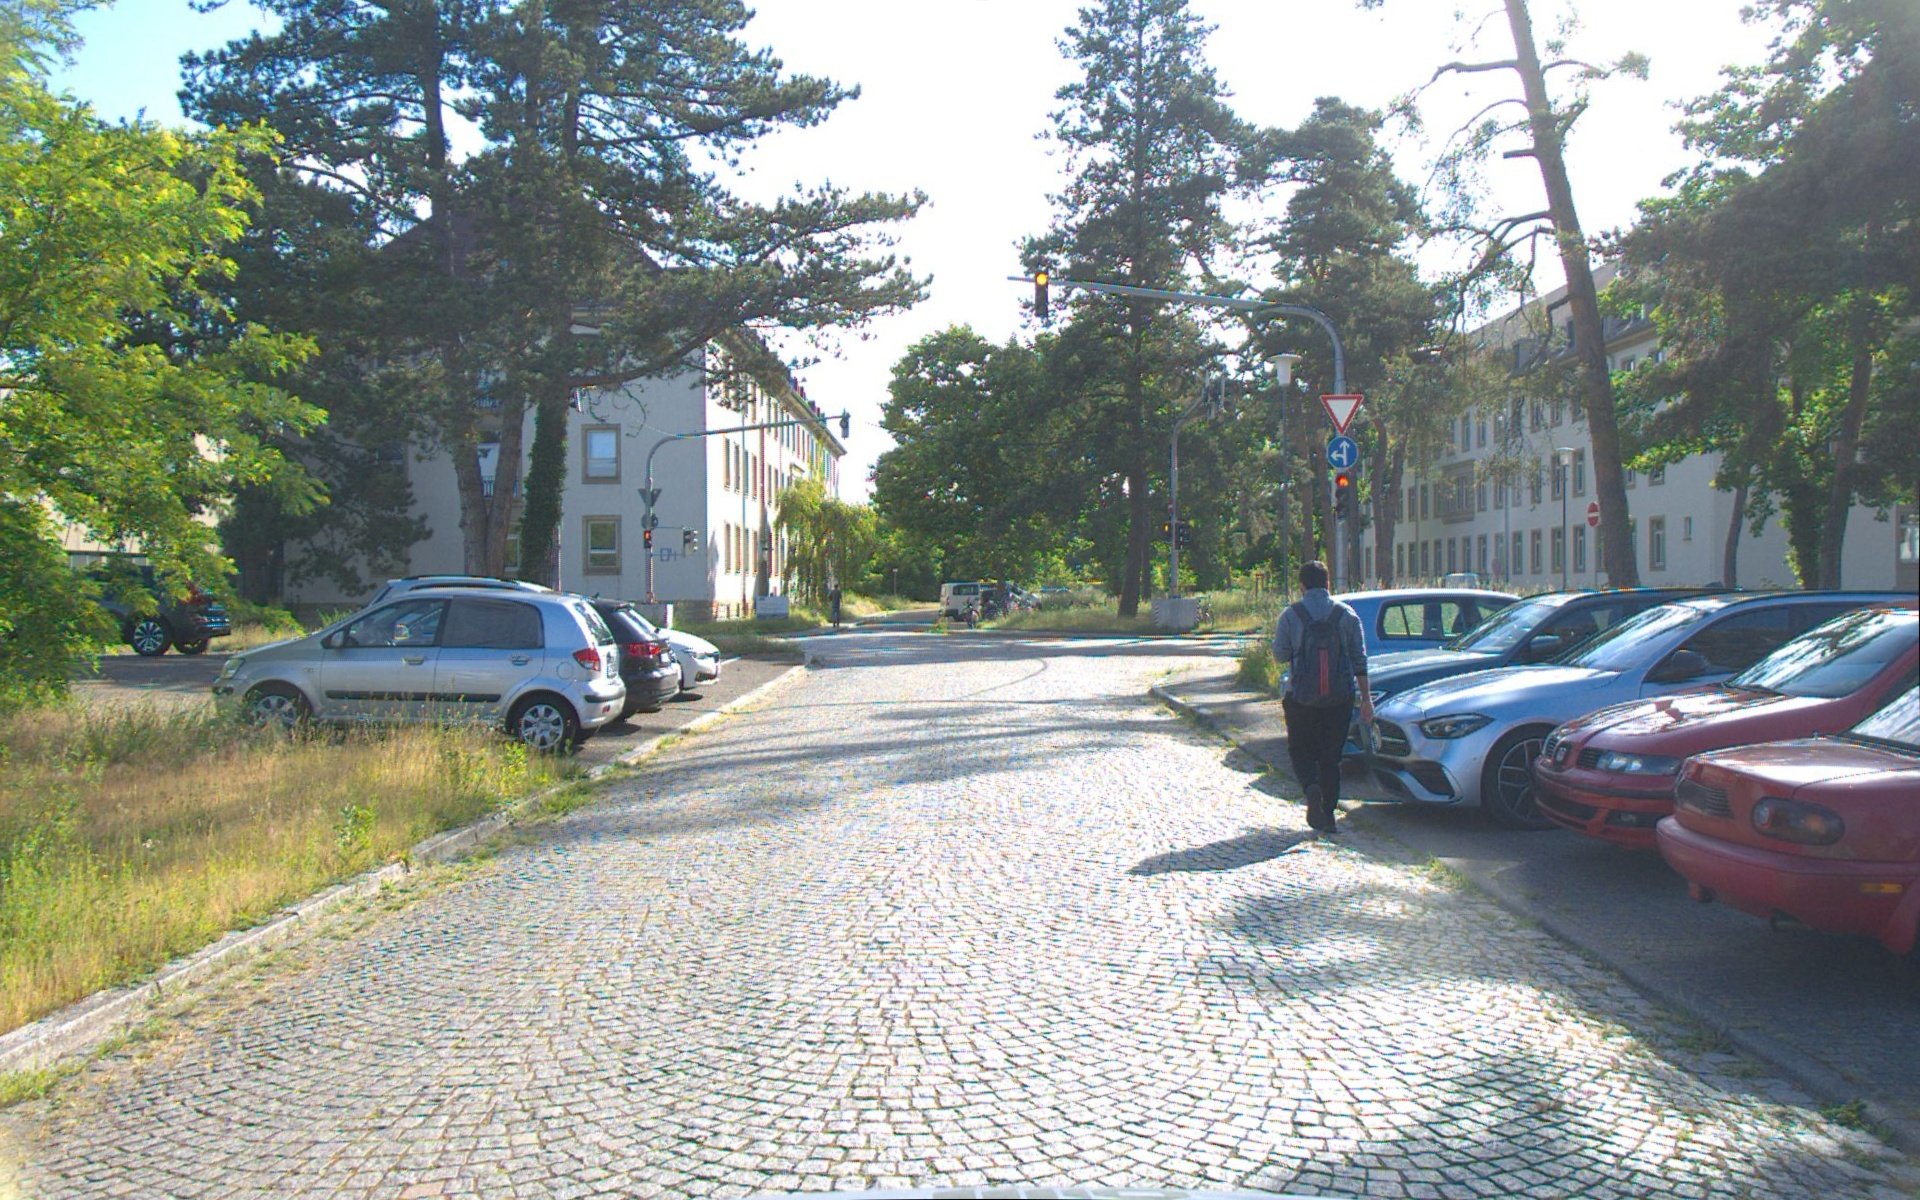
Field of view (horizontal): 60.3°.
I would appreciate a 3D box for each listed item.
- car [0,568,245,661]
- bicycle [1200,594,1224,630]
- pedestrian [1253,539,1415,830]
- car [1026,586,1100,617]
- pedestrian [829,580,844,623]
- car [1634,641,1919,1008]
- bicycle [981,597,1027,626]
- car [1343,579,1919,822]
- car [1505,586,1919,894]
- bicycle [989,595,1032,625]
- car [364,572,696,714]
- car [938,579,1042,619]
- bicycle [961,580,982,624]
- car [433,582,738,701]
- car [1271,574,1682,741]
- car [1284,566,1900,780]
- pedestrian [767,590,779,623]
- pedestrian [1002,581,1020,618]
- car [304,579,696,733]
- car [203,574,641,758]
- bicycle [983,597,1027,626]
[{"bbox_3d":[-15.947,0.259,31.133,4.058,1.636,2.010,-1,0,1],"label":"car"},{"bbox_3d":[8.201,0.369,53.745,0.706,1.134,2.586,-1,0,10],"label":"bicycle"},{"bbox_3d":[2.402,0.524,10.706,0.738,1.755,0.828,4,0,0],"label":"pedestrian"},{"bbox_3d":[5.449,0.066,87.465,3.673,1.607,1.739,0,0,-7],"label":"car"},{"bbox_3d":[-5.177,0.049,69.394,0.594,1.783,0.630,0,0,-1],"label":"pedestrian"},{"bbox_3d":[4.738,0.819,6.707,3.389,1.264,1.536,0,0,0],"label":"car"},{"bbox_3d":[1.738,0.442,65.638,1.798,1.132,0.495,-1,0,-4],"label":"bicycle"},{"bbox_3d":[5.026,0.626,11.430,4.310,1.413,1.788,-2,0,-1],"label":"car"},{"bbox_3d":[5.231,0.674,9.097,3.898,1.474,1.655,-1,0,-1],"label":"car"},{"bbox_3d":[2.037,0.397,66.864,1.693,1.185,0.561,-1,0,-4],"label":"bicycle"},{"bbox_3d":[-5.443,0.525,21.282,3.801,1.643,1.660,2,0,-1],"label":"car"},{"bbox_3d":[1.498,-0.054,83.538,4.974,1.951,1.996,-1,0,-10],"label":"car"},{"bbox_3d":[0.426,0.078,62.178,0.738,1.608,2.536,0,0,-1],"label":"bicycle"},{"bbox_3d":[-5.346,0.562,23.926,3.903,1.522,1.774,2,0,5],"label":"car"},{"bbox_3d":[5.108,0.546,16.695,3.598,1.468,1.665,-2,0,0],"label":"car"},{"bbox_3d":[5.256,0.570,14.165,4.527,1.481,1.869,-3,0,-2],"label":"car"},{"bbox_3d":[-8.998,0.320,79.615,0.595,1.587,0.544,-1,0,-7],"label":"pedestrian"},{"bbox_3d":[2.513,-0.013,81.744,0.745,1.815,0.683,-1,0,-8],"label":"pedestrian"},{"bbox_3d":[-5.039,0.593,18.506,3.858,1.470,1.690,3,0,-1],"label":"car"},{"bbox_3d":[-5.028,0.601,15.842,3.612,1.554,1.698,2,0,-3],"label":"car"},{"bbox_3d":[1.805,0.440,66.183,1.693,1.132,0.484,-1,0,-4],"label":"bicycle"}]
